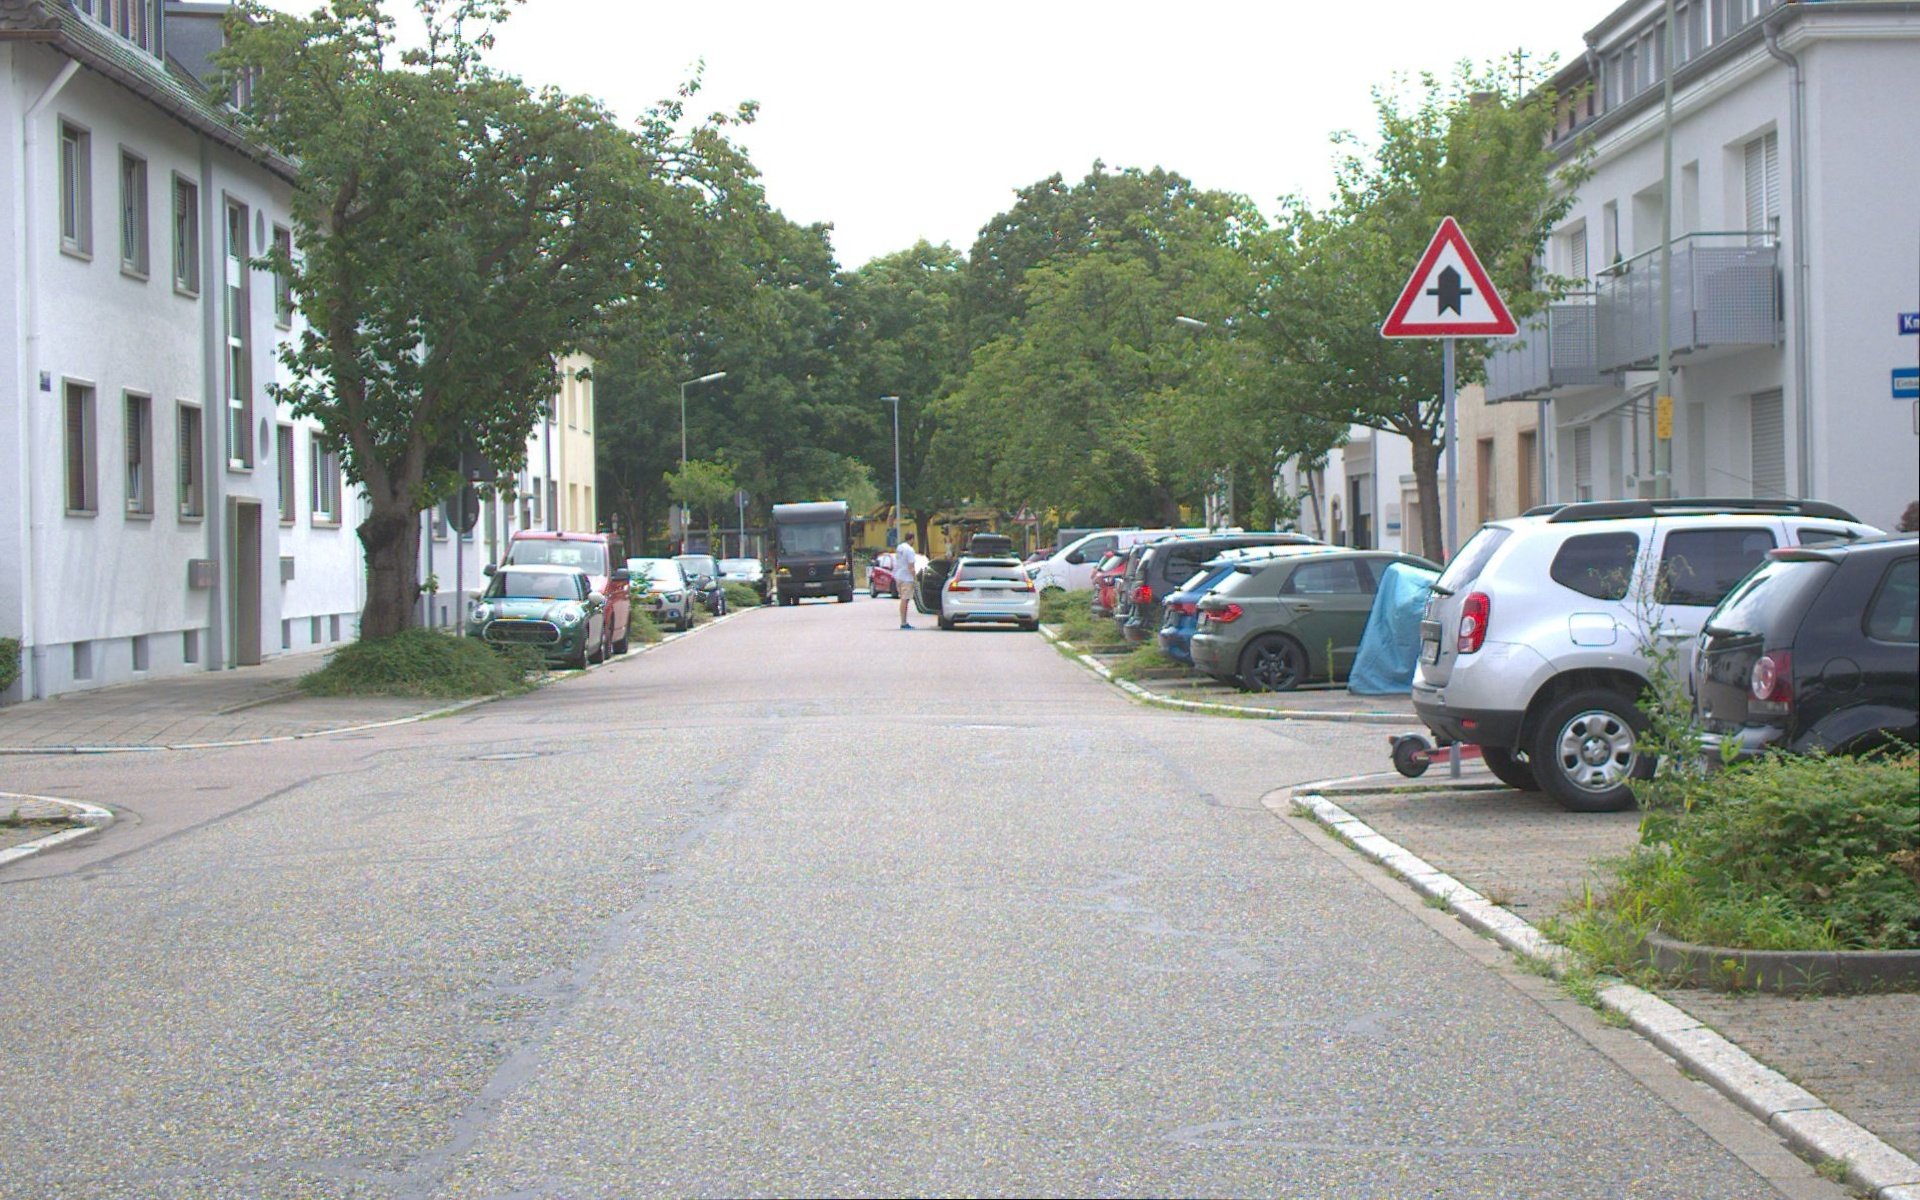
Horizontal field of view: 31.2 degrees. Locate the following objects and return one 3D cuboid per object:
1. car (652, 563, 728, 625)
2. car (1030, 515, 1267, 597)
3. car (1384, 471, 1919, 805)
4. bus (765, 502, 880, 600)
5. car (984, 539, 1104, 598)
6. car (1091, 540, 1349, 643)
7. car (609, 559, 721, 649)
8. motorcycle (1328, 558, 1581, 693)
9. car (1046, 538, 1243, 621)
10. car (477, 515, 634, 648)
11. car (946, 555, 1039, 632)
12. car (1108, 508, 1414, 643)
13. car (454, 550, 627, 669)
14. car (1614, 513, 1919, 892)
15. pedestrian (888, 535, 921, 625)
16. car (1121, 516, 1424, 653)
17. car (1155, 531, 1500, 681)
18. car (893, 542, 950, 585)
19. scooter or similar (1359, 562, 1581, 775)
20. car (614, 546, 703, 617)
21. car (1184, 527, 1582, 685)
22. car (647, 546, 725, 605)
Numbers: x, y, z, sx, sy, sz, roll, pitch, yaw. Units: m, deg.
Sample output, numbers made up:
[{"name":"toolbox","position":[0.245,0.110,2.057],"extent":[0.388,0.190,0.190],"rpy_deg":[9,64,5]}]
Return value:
[{"name":"car","position":[-6.081,-0.151,77.746],"extent":[1.538,1.297,3.722],"rpy_deg":[-3,1,-3]},{"name":"car","position":[4.087,-0.967,75.083],"extent":[4.974,1.513,1.769],"rpy_deg":[-3,1,-2]},{"name":"car","position":[4.462,0.155,19.082],"extent":[3.924,1.627,1.868],"rpy_deg":[-3,1,1]},{"name":"bus","position":[-4.198,-1.536,106.840],"extent":[3.004,2.751,8.924],"rpy_deg":[-3,1,1]},{"name":"car","position":[2.523,-0.953,104.097],"extent":[3.530,1.597,1.773],"rpy_deg":[-3,1,1]},{"name":"car","position":[4.207,-0.151,56.055],"extent":[3.987,1.434,1.723],"rpy_deg":[-3,1,0]},{"name":"car","position":[-5.204,0.045,60.966],"extent":[1.651,1.456,3.552],"rpy_deg":[-3,1,-1]},{"name":"motorcycle","position":[4.625,0.231,32.273],"extent":[2.193,1.206,0.940],"rpy_deg":[-1,1,-2]},{"name":"car","position":[3.875,-0.442,72.723],"extent":[3.987,1.513,1.723],"rpy_deg":[-3,1,0]},{"name":"car","position":[-6.433,-0.323,55.117],"extent":[1.993,2.007,4.521],"rpy_deg":[-1,1,-1]},{"name":"car","position":[0.636,-0.140,66.795],"extent":[1.687,1.349,3.826],"rpy_deg":[-3,1,1]},{"name":"car","position":[4.107,-0.341,47.398],"extent":[3.987,1.612,1.867],"rpy_deg":[-3,1,1]},{"name":"car","position":[-5.982,0.108,49.422],"extent":[1.763,1.549,3.730],"rpy_deg":[-3,1,3]},{"name":"car","position":[4.892,0.305,14.199],"extent":[3.987,1.417,1.712],"rpy_deg":[-3,1,0]},{"name":"pedestrian","position":[-1.063,-0.396,66.045],"extent":[0.522,1.698,0.444],"rpy_deg":[-3,1,3]},{"name":"car","position":[4.048,-0.211,45.014],"extent":[3.747,1.559,1.773],"rpy_deg":[-3,1,1]},{"name":"car","position":[3.950,0.053,37.321],"extent":[3.517,1.407,1.559],"rpy_deg":[-3,1,0]},{"name":"car","position":[-1.248,-1.200,112.060],"extent":[1.754,1.337,4.000],"rpy_deg":[-2,1,0]},{"name":"scooter or similar","position":[3.174,0.419,21.426],"extent":[1.238,1.239,0.422],"rpy_deg":[-3,1,-13]},{"name":"car","position":[-6.346,-0.401,72.681],"extent":[1.651,1.372,3.722],"rpy_deg":[-3,1,-3]},{"name":"car","position":[4.207,0.045,34.627],"extent":[3.747,1.361,1.773],"rpy_deg":[-3,1,1]},{"name":"car","position":[-6.894,-0.643,86.762],"extent":[1.651,1.372,3.722],"rpy_deg":[-3,1,-1]}]
